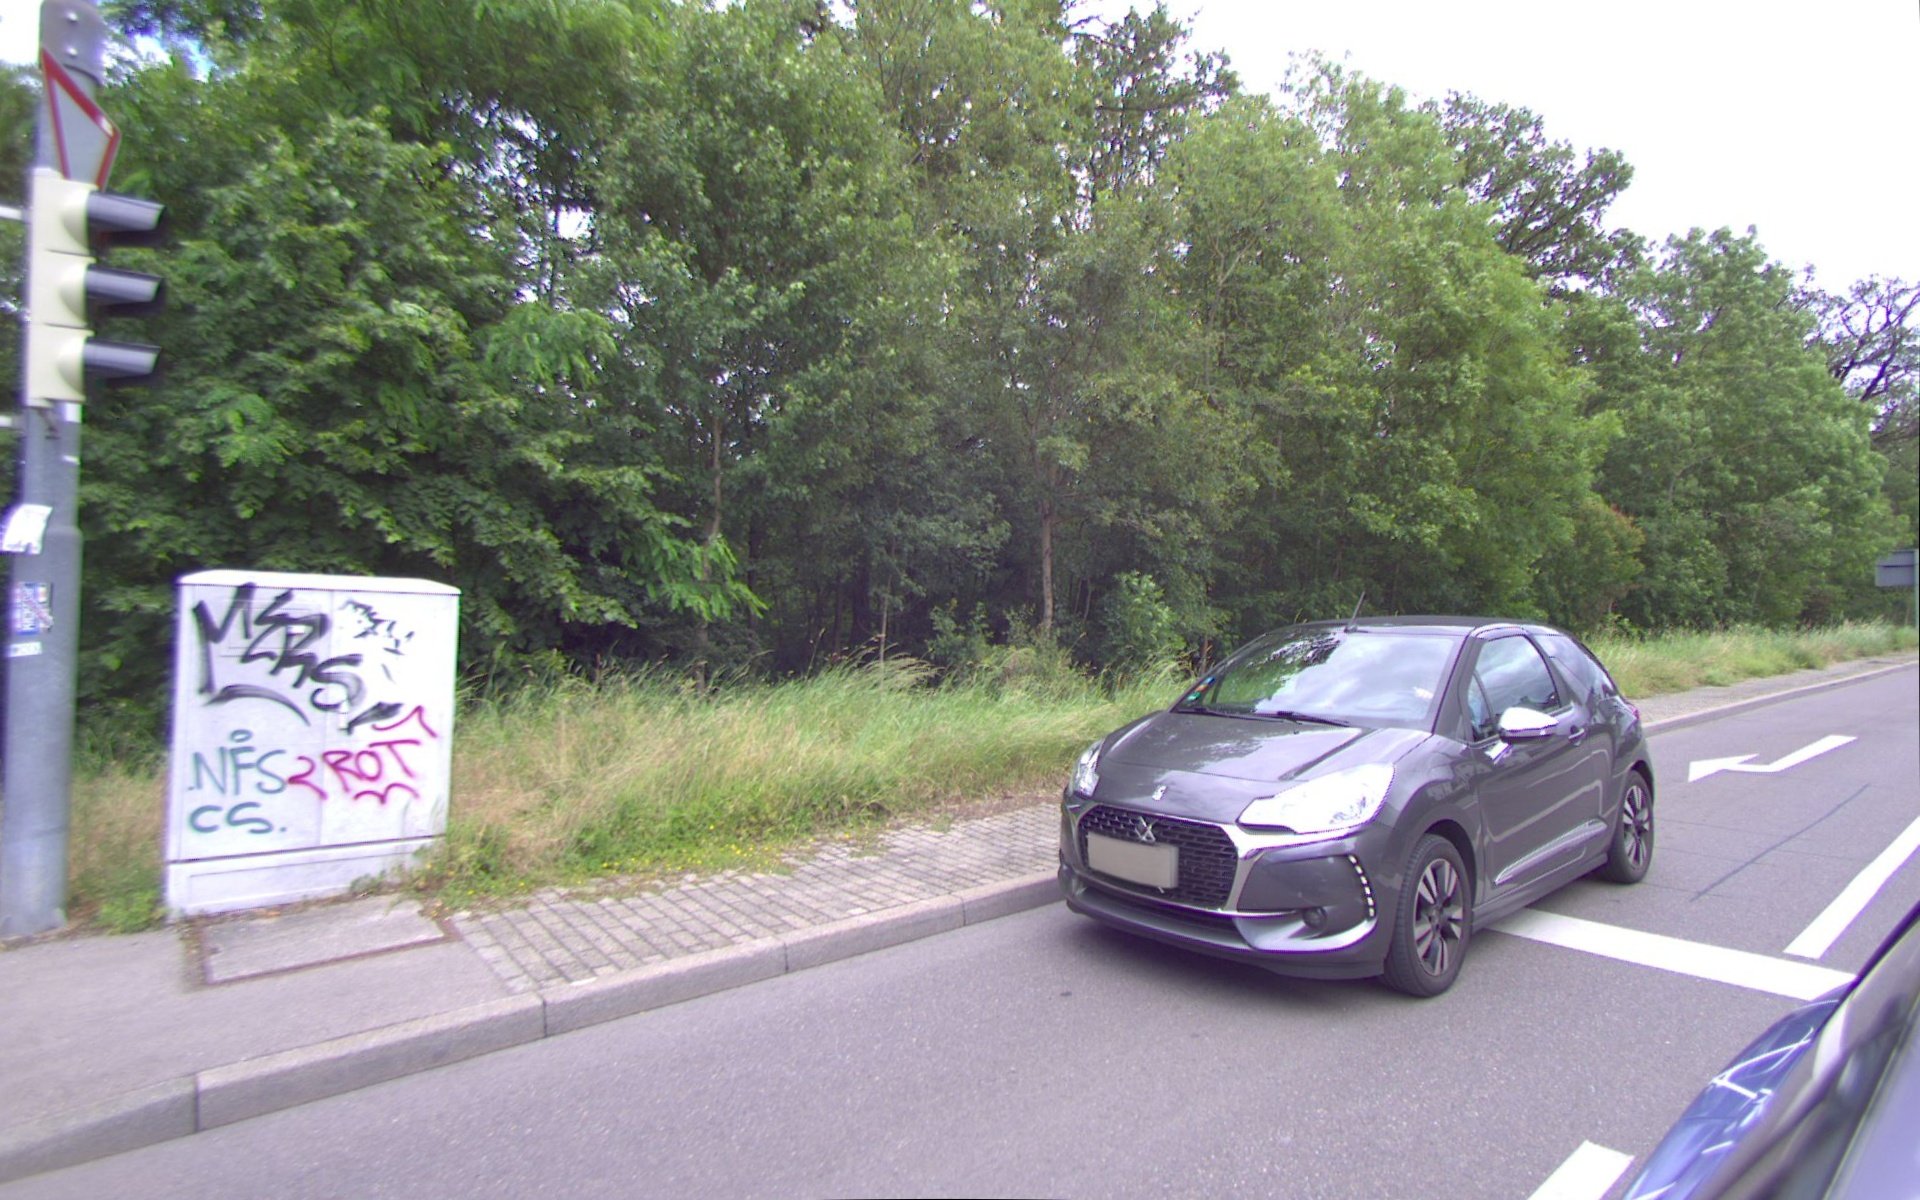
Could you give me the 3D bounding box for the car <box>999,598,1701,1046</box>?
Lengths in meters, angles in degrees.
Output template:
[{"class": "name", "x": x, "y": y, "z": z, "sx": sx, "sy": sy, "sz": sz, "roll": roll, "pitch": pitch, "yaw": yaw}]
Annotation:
[{"class": "car", "x": 2.195, "y": 0.750, "z": 5.250, "sx": 3.785, "sy": 1.476, "sz": 1.729, "roll": 0, "pitch": -1, "yaw": -39}]
